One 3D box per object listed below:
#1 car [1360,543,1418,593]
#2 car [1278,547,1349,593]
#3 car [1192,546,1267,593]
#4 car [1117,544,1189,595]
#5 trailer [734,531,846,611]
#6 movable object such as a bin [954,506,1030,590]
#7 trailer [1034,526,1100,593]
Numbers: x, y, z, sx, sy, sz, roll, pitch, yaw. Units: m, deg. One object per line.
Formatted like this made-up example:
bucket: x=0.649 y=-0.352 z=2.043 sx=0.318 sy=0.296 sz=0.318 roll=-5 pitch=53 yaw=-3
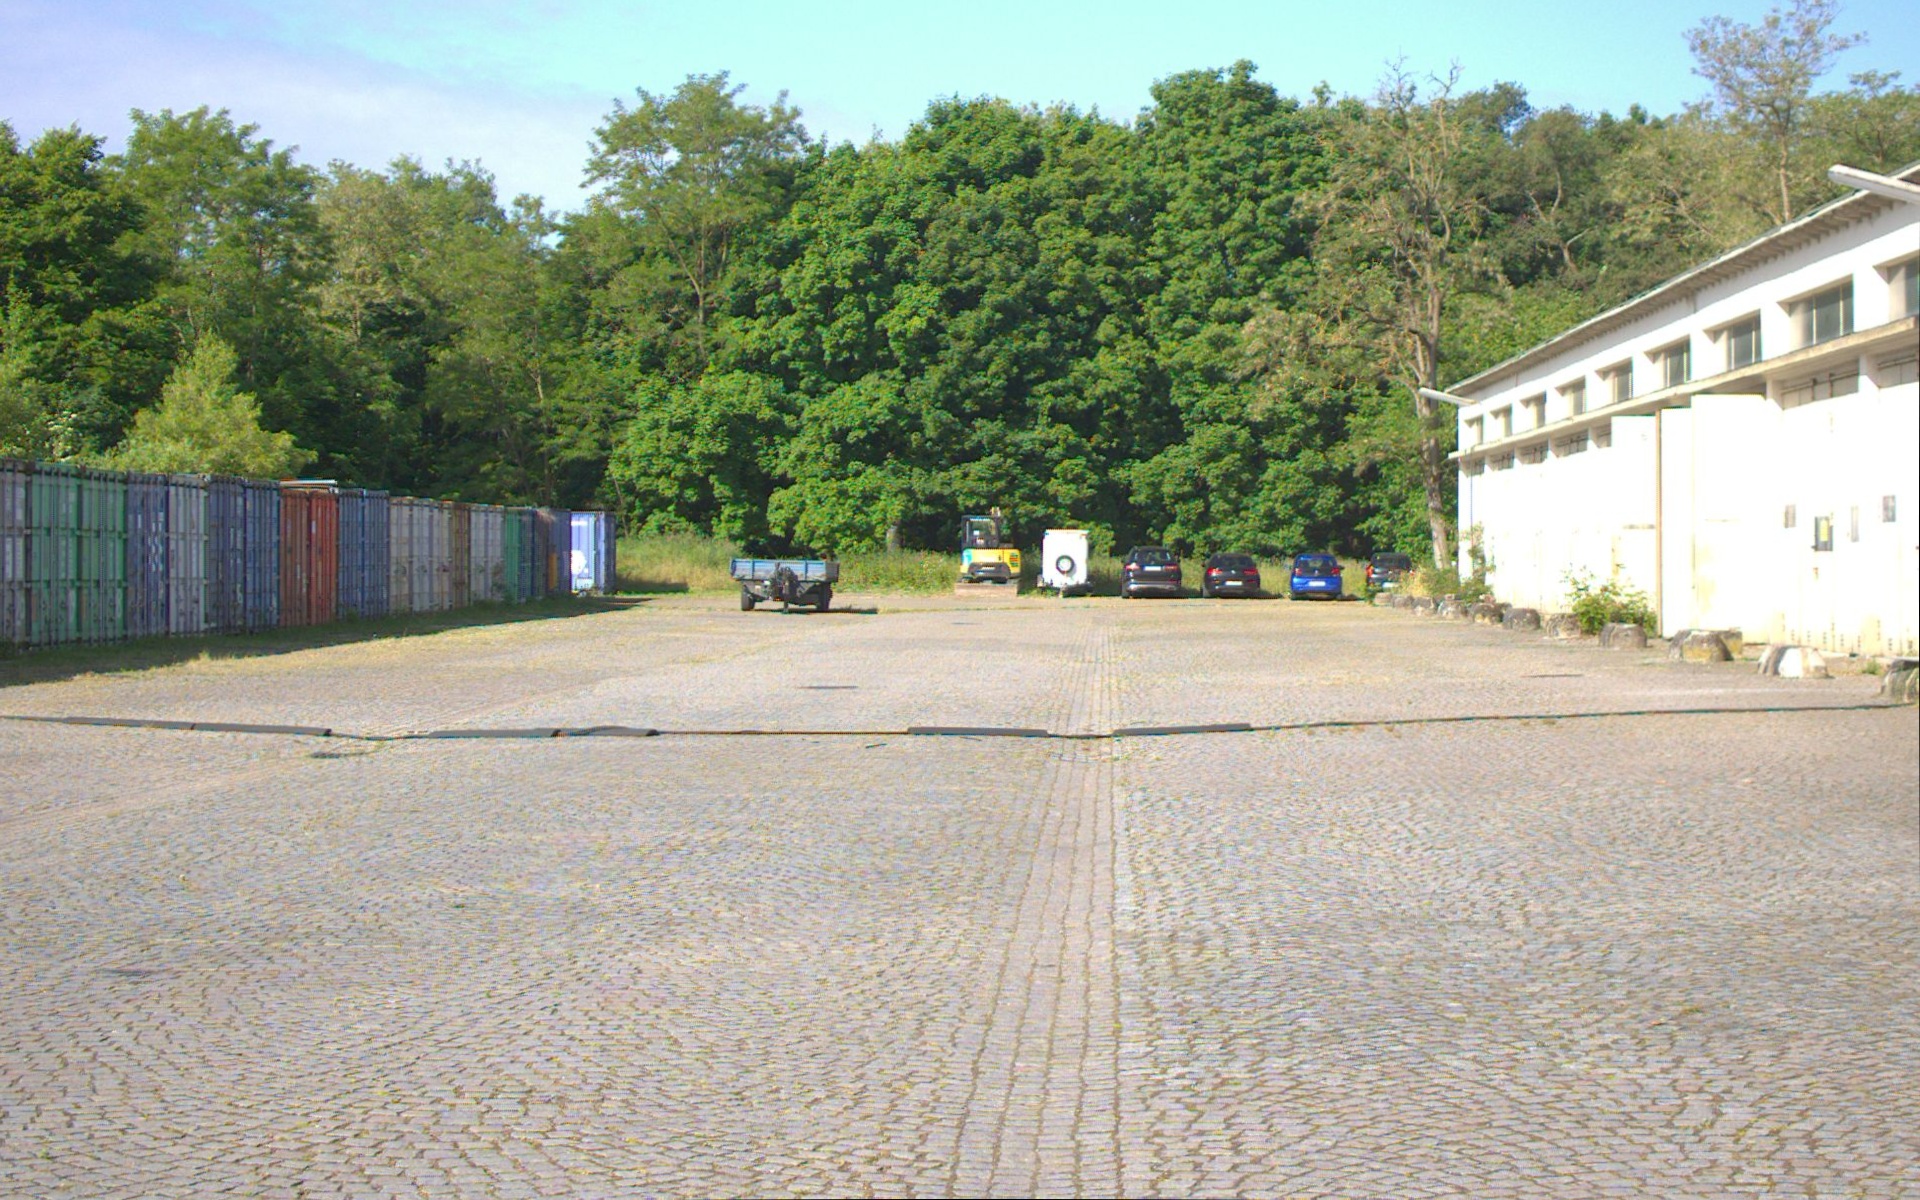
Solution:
car: x=13.660 y=-1.022 z=109.374 sx=1.686 sy=1.558 sz=3.999 roll=0 pitch=1 yaw=9
car: x=11.140 y=-0.950 z=108.140 sx=1.994 sy=1.415 sz=3.999 roll=0 pitch=1 yaw=9
car: x=8.509 y=-0.978 z=108.267 sx=1.994 sy=1.458 sz=3.999 roll=0 pitch=1 yaw=9
car: x=6.095 y=-0.978 z=108.190 sx=1.862 sy=1.580 sz=3.999 roll=0 pitch=1 yaw=9
trailer: x=-4.486 y=-0.793 z=91.244 sx=2.407 sy=2.007 sz=4.173 roll=2 pitch=1 yaw=5
movable object such as a bin: x=1.049 y=-1.667 z=110.401 sx=1.994 sy=2.609 sz=3.999 roll=2 pitch=1 yaw=6
trailer: x=3.441 y=-1.305 z=110.013 sx=1.794 sy=2.083 sz=3.970 roll=0 pitch=1 yaw=7
